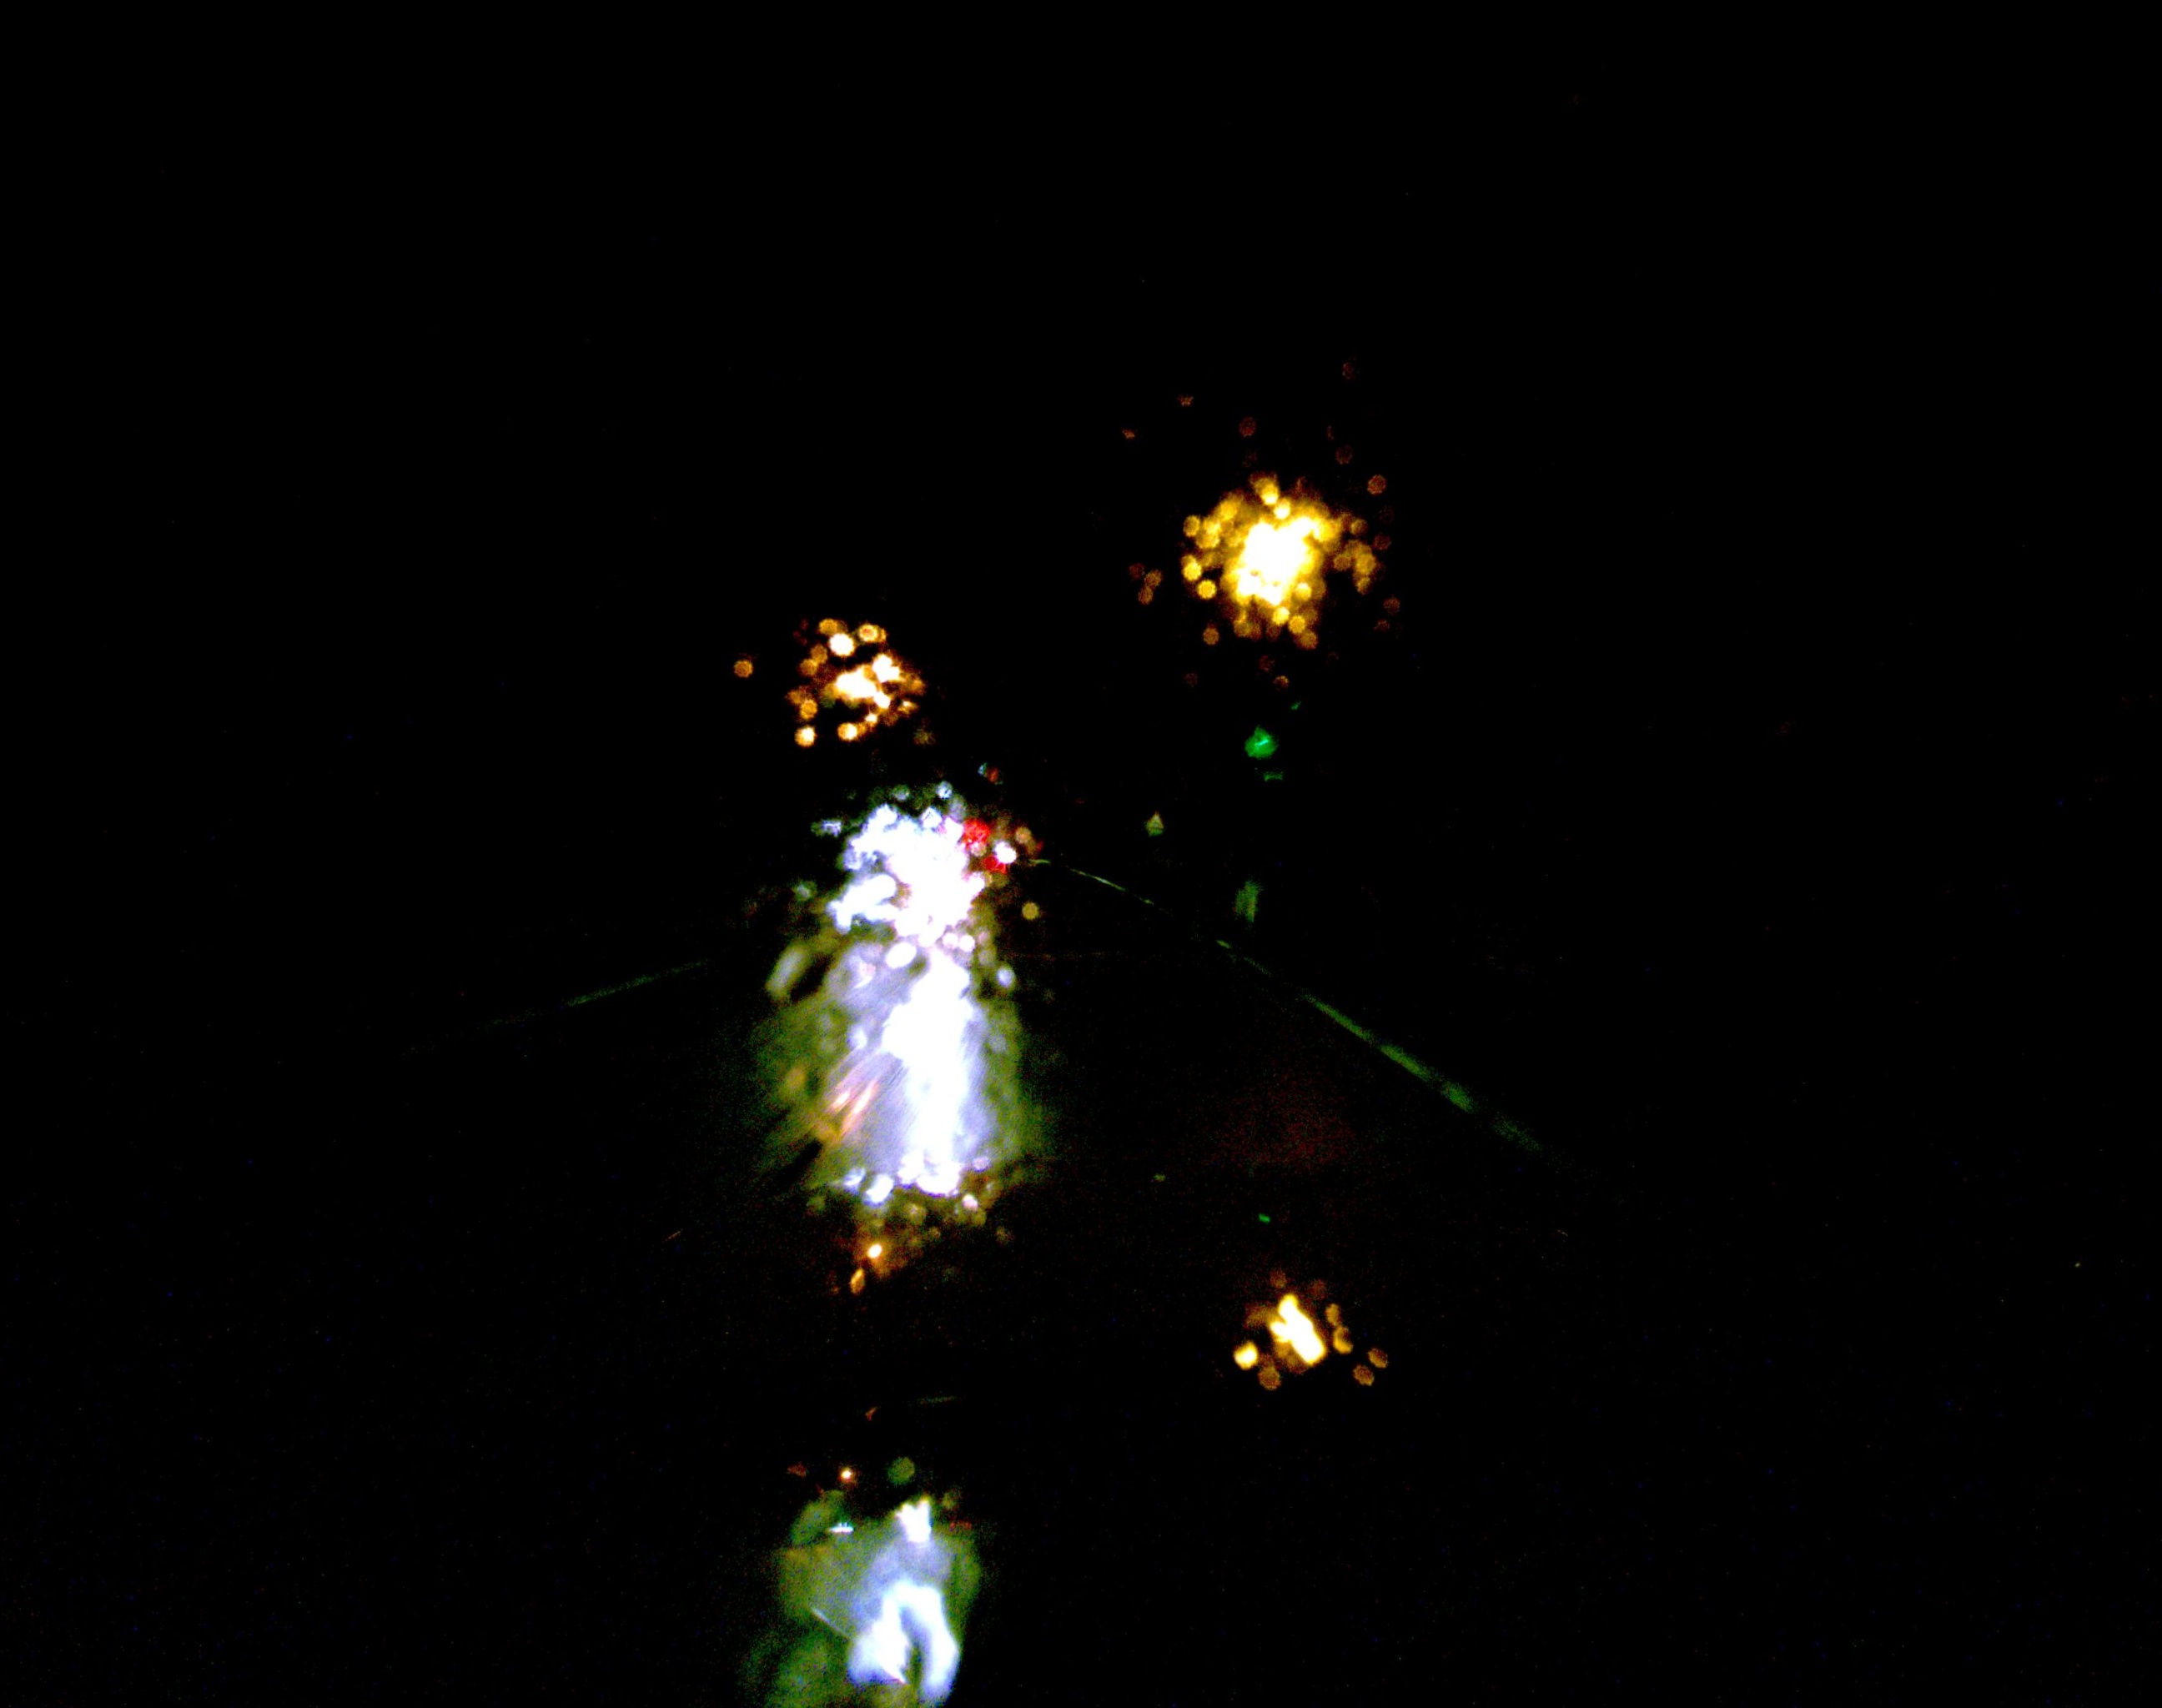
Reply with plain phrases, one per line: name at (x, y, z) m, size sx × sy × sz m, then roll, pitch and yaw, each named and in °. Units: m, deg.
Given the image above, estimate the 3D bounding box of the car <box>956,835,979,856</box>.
car at (-12.235, -0.888, 87.944) m, size 1.996 × 2.014 × 3.980 m, roll 2°, pitch -2°, yaw -14°

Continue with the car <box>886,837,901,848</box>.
car at (-28.300, -1.735, 122.733) m, size 1.641 × 1.509 × 4.069 m, roll -2°, pitch 1°, yaw -20°

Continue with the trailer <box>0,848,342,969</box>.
trailer at (-15.439, 0.783, 14.115) m, size 1.812 × 1.677 × 4.090 m, roll -3°, pitch 1°, yaw -8°

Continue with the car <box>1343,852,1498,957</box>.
car at (6.045, 0.802, 14.950) m, size 1.665 × 1.566 × 3.809 m, roll 0°, pitch 2°, yaw 7°

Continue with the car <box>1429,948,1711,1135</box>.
car at (5.695, 2.088, 10.042) m, size 1.627 × 1.398 × 3.683 m, roll 0°, pitch 1°, yaw 7°

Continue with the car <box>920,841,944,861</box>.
car at (-15.787, -0.332, 86.210) m, size 1.997 × 2.014 × 4.819 m, roll 2°, pitch -1°, yaw -16°

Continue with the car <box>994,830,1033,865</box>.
car at (-5.158, -0.559, 61.235) m, size 2.538 × 2.497 × 5.698 m, roll -1°, pitch 2°, yaw -9°

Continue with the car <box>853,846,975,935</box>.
car at (-3.215, 0.662, 16.397) m, size 1.631 × 1.510 × 4.114 m, roll -2°, pitch -1°, yaw -1°
